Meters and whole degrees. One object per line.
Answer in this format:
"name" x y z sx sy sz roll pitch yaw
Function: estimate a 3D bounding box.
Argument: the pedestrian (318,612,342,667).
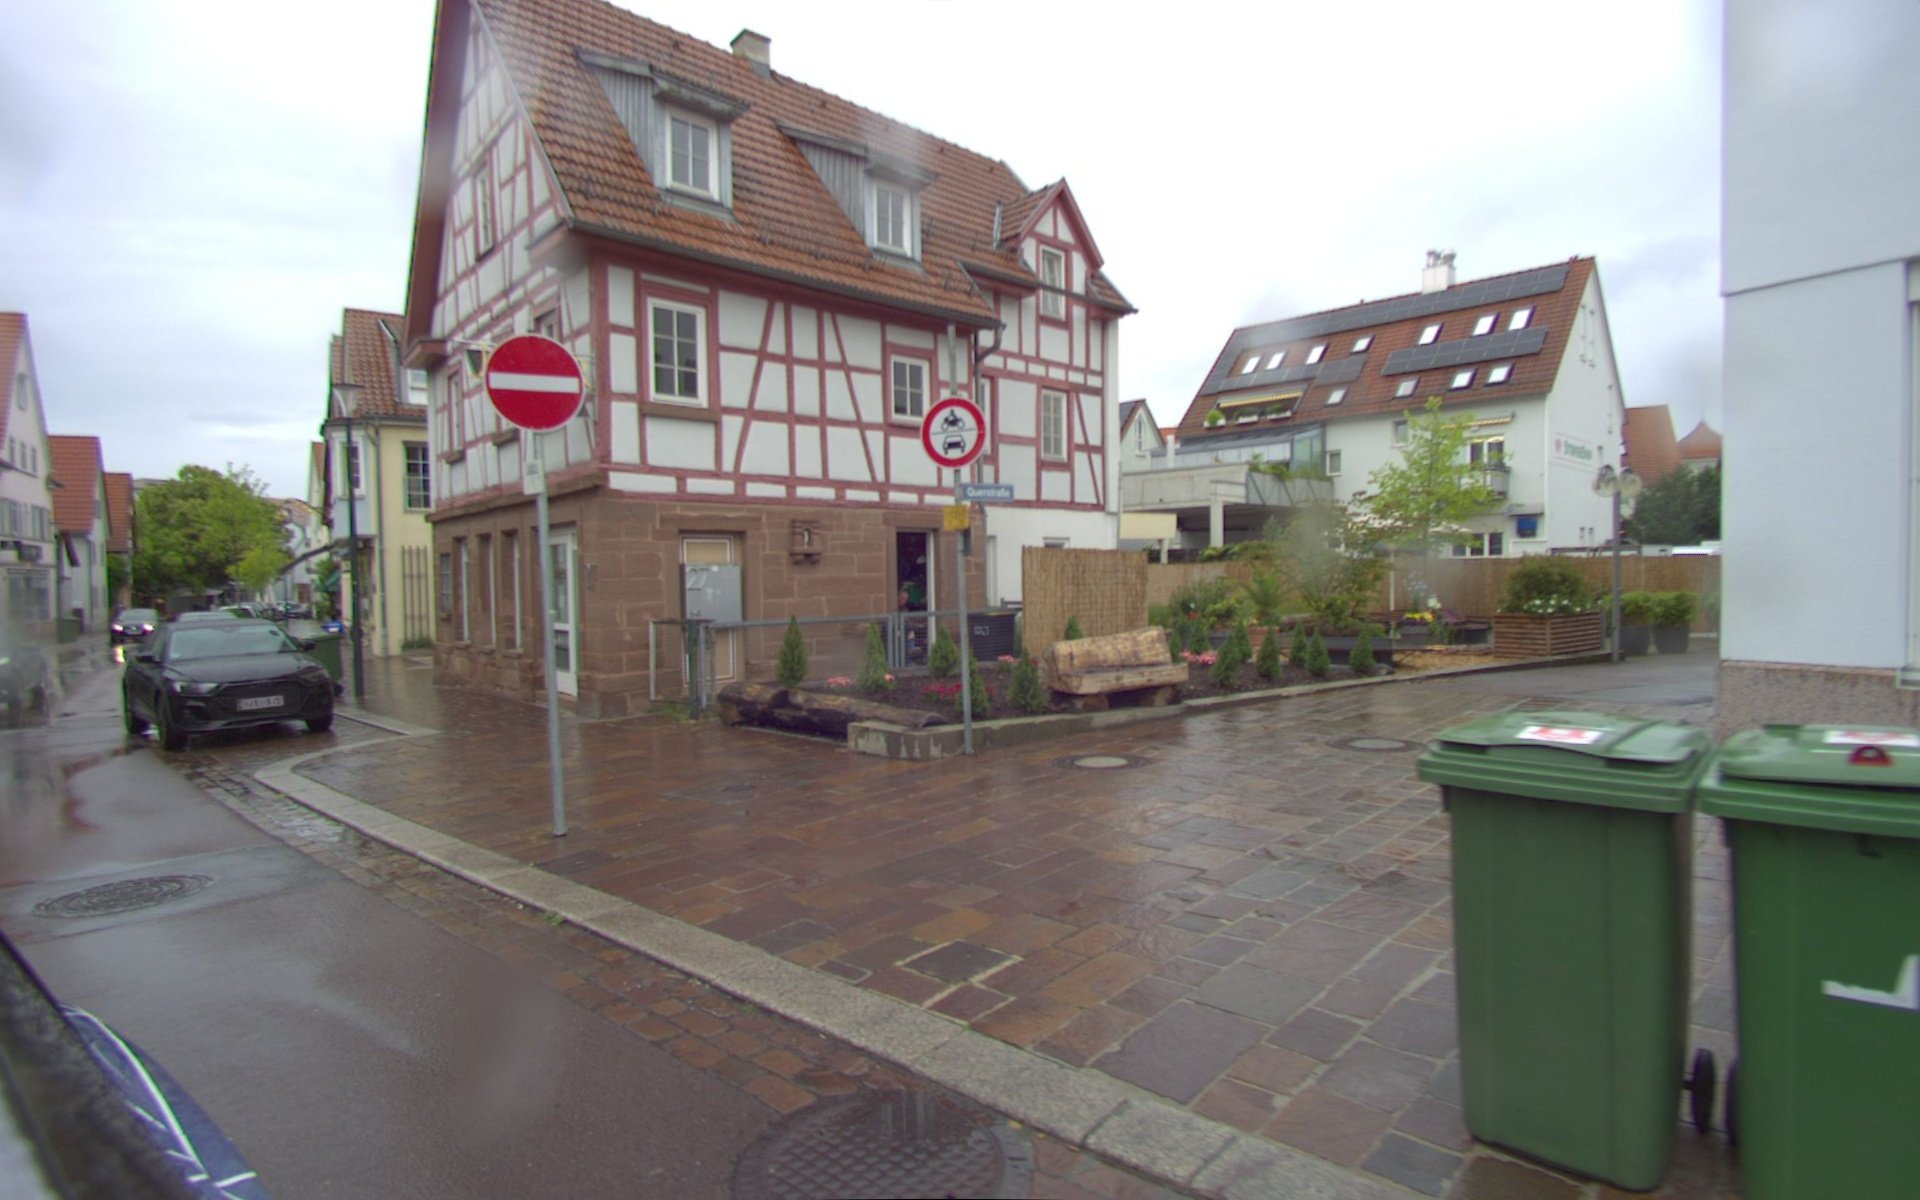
"pedestrian" -15.429 0.969 24.777 0.448 1.317 0.518 -1 0 -36

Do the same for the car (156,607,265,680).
"car" -18.771 1.029 25.397 1.968 1.540 4.009 -5 2 -37

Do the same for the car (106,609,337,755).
"car" -9.582 0.923 13.010 4.001 1.497 1.671 -1 2 44

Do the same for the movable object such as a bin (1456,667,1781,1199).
"movable object such as a bin" 1.651 0.740 2.528 0.553 1.090 0.651 -1 0 44

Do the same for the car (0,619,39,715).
"car" -17.553 1.145 17.867 1.710 1.567 3.851 -1 0 -39

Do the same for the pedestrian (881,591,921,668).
"pedestrian" -0.918 0.456 15.761 0.406 1.163 0.425 -1 0 -43

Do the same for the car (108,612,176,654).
"car" -36.832 1.459 45.662 1.966 1.763 4.011 -1 0 -34

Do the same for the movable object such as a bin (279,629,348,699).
"movable object such as a bin" -10.987 1.062 17.198 0.823 1.120 0.920 -1 0 -44

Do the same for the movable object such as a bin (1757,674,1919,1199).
"movable object such as a bin" 2.052 0.746 2.098 0.553 1.123 0.651 -1 0 44
